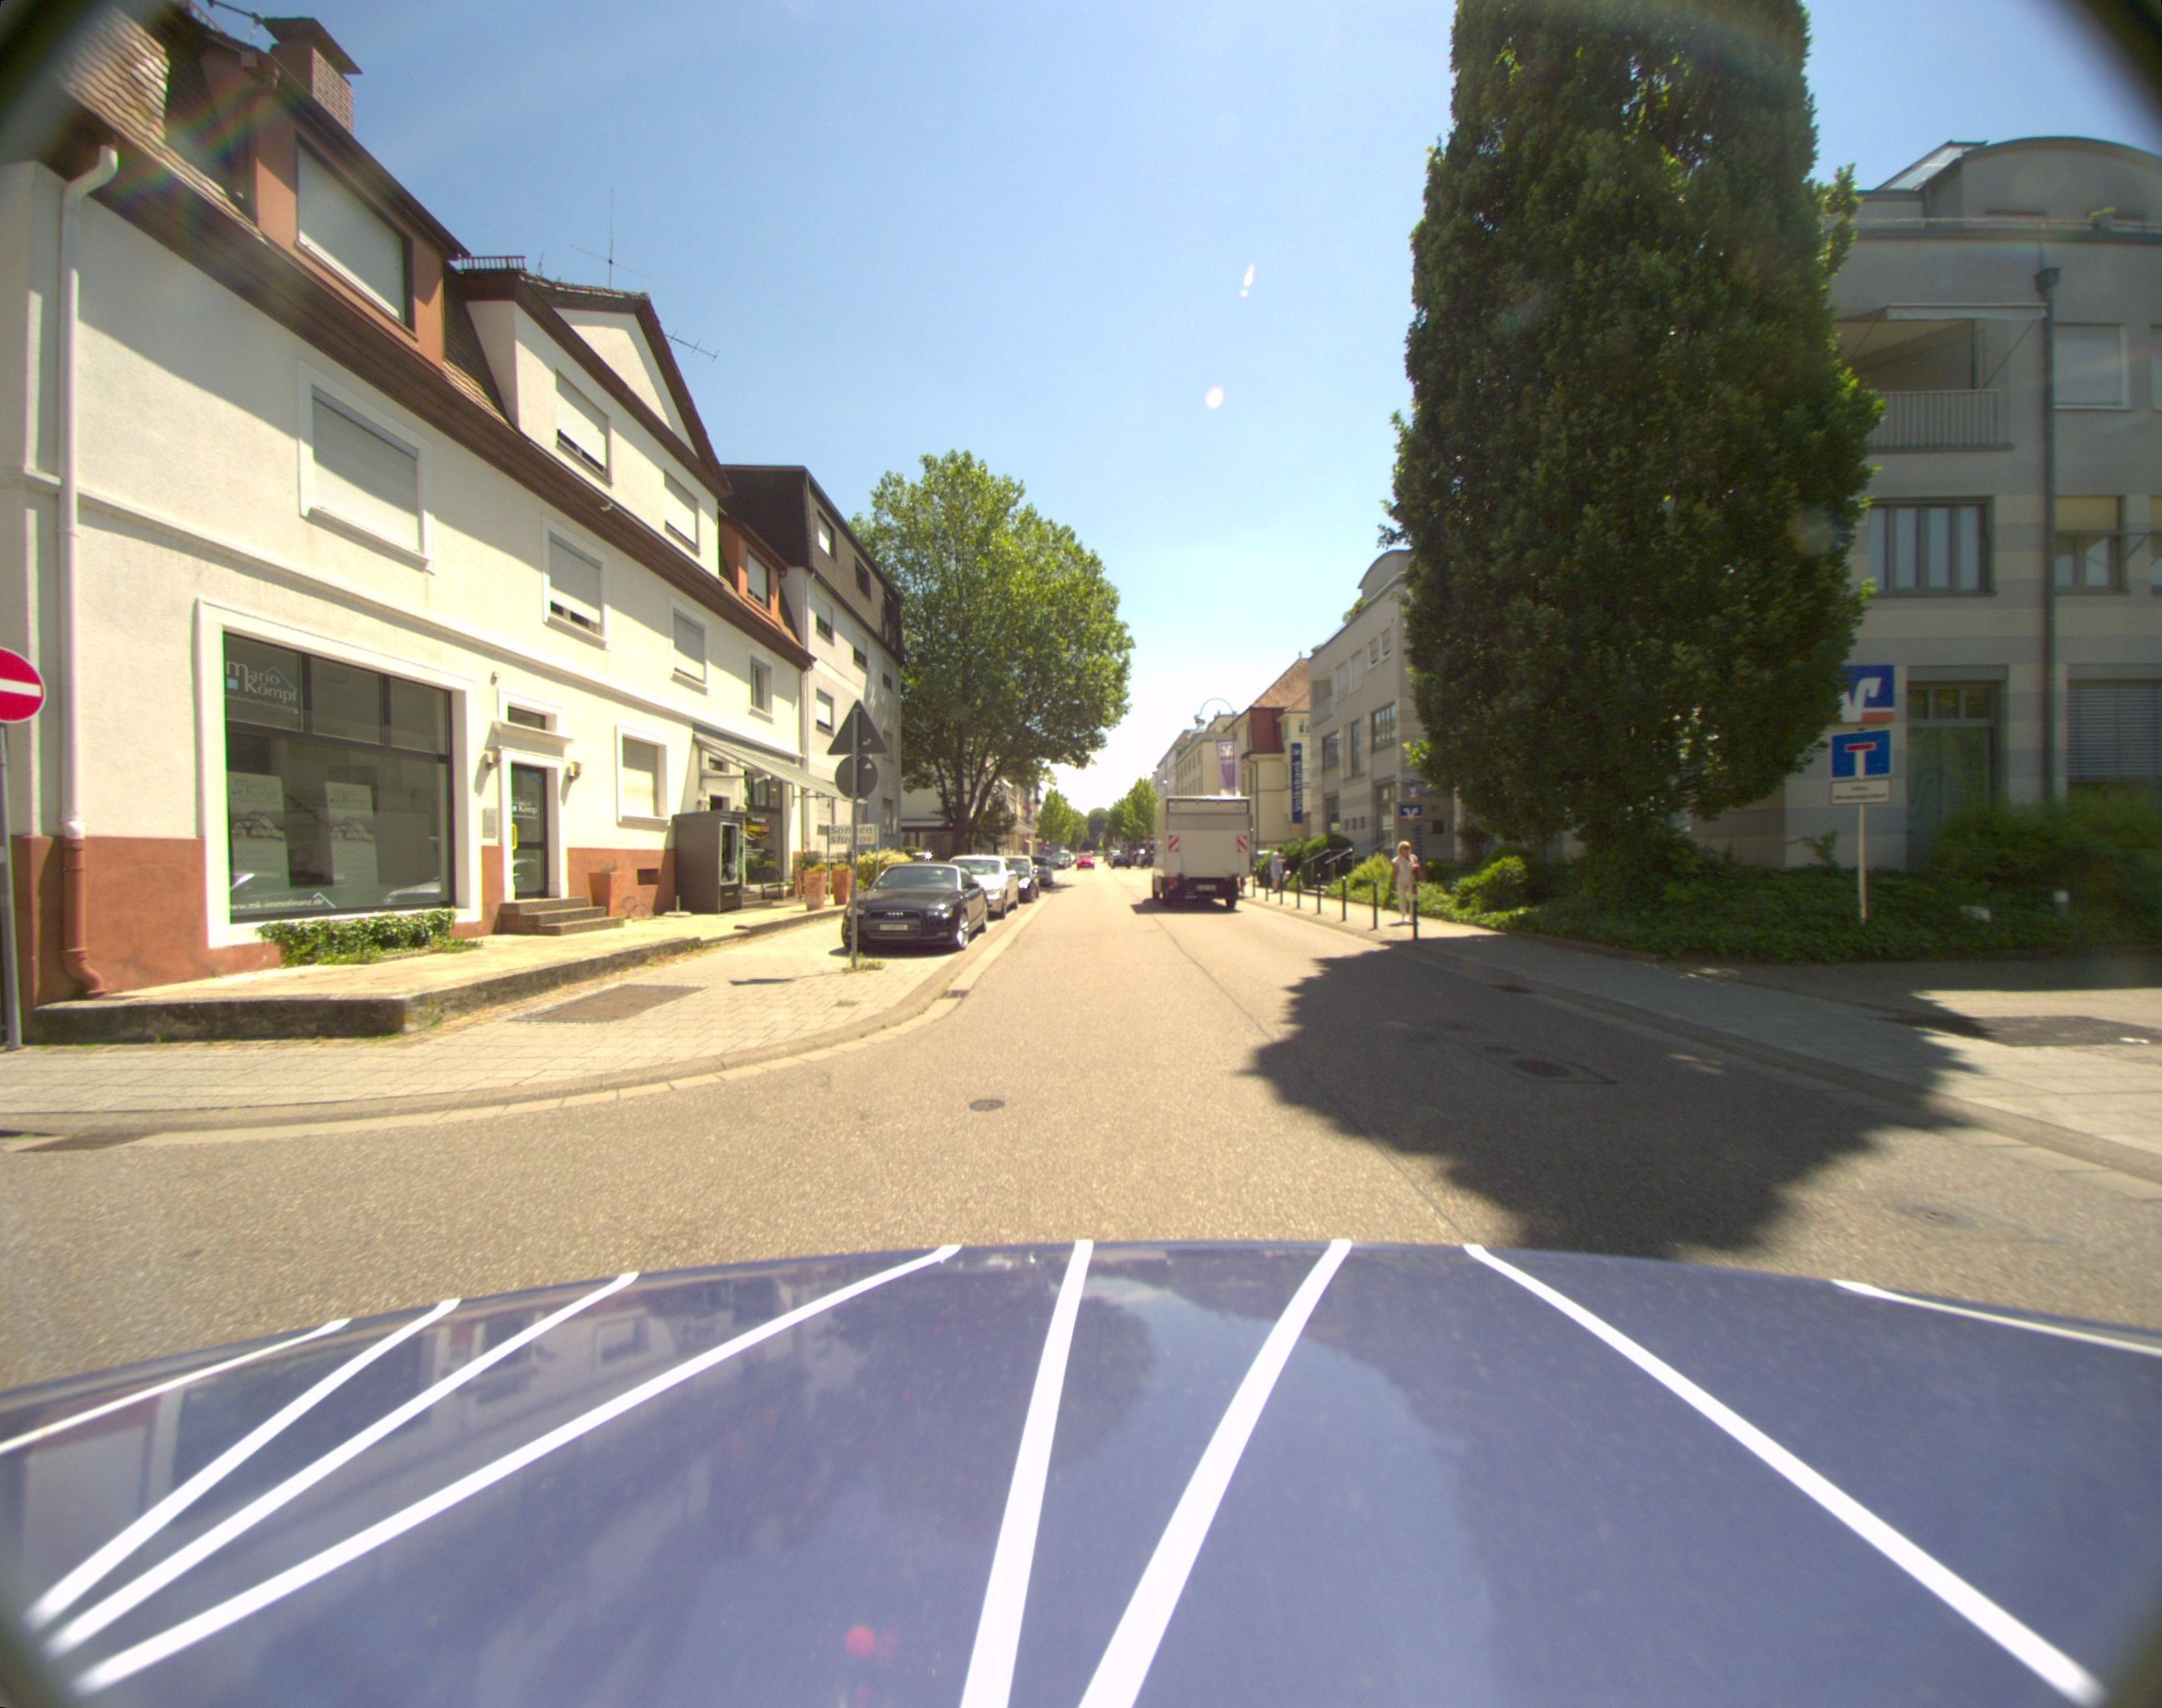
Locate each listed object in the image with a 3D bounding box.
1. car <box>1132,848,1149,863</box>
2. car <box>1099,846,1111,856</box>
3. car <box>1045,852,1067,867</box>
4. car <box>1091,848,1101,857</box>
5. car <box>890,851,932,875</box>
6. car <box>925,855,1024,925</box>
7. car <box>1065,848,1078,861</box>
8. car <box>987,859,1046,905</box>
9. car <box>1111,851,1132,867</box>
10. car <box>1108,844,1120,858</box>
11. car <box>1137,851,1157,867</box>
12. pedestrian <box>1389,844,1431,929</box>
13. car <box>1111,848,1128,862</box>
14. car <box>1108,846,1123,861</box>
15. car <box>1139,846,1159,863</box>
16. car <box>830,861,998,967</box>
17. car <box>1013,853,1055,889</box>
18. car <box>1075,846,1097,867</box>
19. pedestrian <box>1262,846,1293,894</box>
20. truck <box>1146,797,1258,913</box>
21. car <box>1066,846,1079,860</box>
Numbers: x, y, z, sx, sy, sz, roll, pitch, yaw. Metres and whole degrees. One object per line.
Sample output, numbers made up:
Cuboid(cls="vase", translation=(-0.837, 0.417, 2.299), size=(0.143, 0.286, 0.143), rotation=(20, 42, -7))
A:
Cuboid(cls="car", translation=(7.045, 0.126, 90.482), size=(1.731, 1.661, 4.293), rotation=(-2, 1, 0))
Cuboid(cls="car", translation=(3.637, -0.489, 115.898), size=(1.731, 1.500, 4.292), rotation=(0, 2, 0))
Cuboid(cls="car", translation=(-2.347, 0.489, 72.141), size=(1.818, 1.379, 4.114), rotation=(1, 1, 0))
Cuboid(cls="car", translation=(2.784, -0.232, 138.261), size=(1.698, 1.594, 3.812), rotation=(-1, 0, 0))
Cuboid(cls="car", translation=(-11.015, 0.570, 49.081), size=(1.740, 1.491, 3.454), rotation=(-1, 1, -30))
Cuboid(cls="car", translation=(-2.563, 0.815, 19.430), size=(1.748, 1.460, 4.851), rotation=(1, 1, 1))
Cuboid(cls="car", translation=(-1.257, 0.066, 101.283), size=(1.731, 1.680, 4.114), rotation=(0, 1, 0))
Cuboid(cls="car", translation=(-2.056, 0.849, 25.044), size=(1.561, 1.333, 4.173), rotation=(0, 0, 0))
Cuboid(cls="car", translation=(3.947, 0.488, 74.552), size=(1.834, 1.502, 4.262), rotation=(1, 0, 1))
Cuboid(cls="car", translation=(5.527, -0.516, 127.368), size=(1.731, 2.154, 4.293), rotation=(1, 1, 0))
Cuboid(cls="car", translation=(7.356, 0.500, 85.130), size=(1.732, 1.661, 4.293), rotation=(-2, 1, -1))
Cuboid(cls="pedestrian", translation=(6.690, 0.645, 15.473), size=(0.538, 1.675, 0.708), rotation=(-1, 1, 1))
Cuboid(cls="car", translation=(4.370, 0.096, 86.470), size=(1.834, 1.502, 4.031), rotation=(0, 1, 0))
Cuboid(cls="car", translation=(4.481, -0.065, 99.693), size=(1.706, 1.815, 4.231), rotation=(1, 1, 0))
Cuboid(cls="car", translation=(7.075, 0.062, 79.192), size=(1.731, 1.661, 4.293), rotation=(-2, 1, 0))
Cuboid(cls="car", translation=(-2.685, 0.894, 13.384), size=(1.831, 1.418, 4.700), rotation=(1, 1, 1))
Cuboid(cls="car", translation=(-2.231, 0.784, 36.996), size=(1.834, 1.502, 4.758), rotation=(-3, 1, -2))
Cuboid(cls="car", translation=(0.469, 0.210, 72.584), size=(2.000, 1.880, 4.293), rotation=(-2, 1, 0))
Cuboid(cls="pedestrian", translation=(7.088, 0.572, 27.459), size=(0.847, 1.635, 0.751), rotation=(-3, 1, 2))
Cuboid(cls="truck", translation=(3.375, 0.001, 22.680), size=(2.426, 2.966, 6.257), rotation=(1, 0, 1))
Cuboid(cls="car", translation=(-1.133, -0.176, 107.021), size=(1.731, 1.861, 4.114), rotation=(0, 1, 0))
